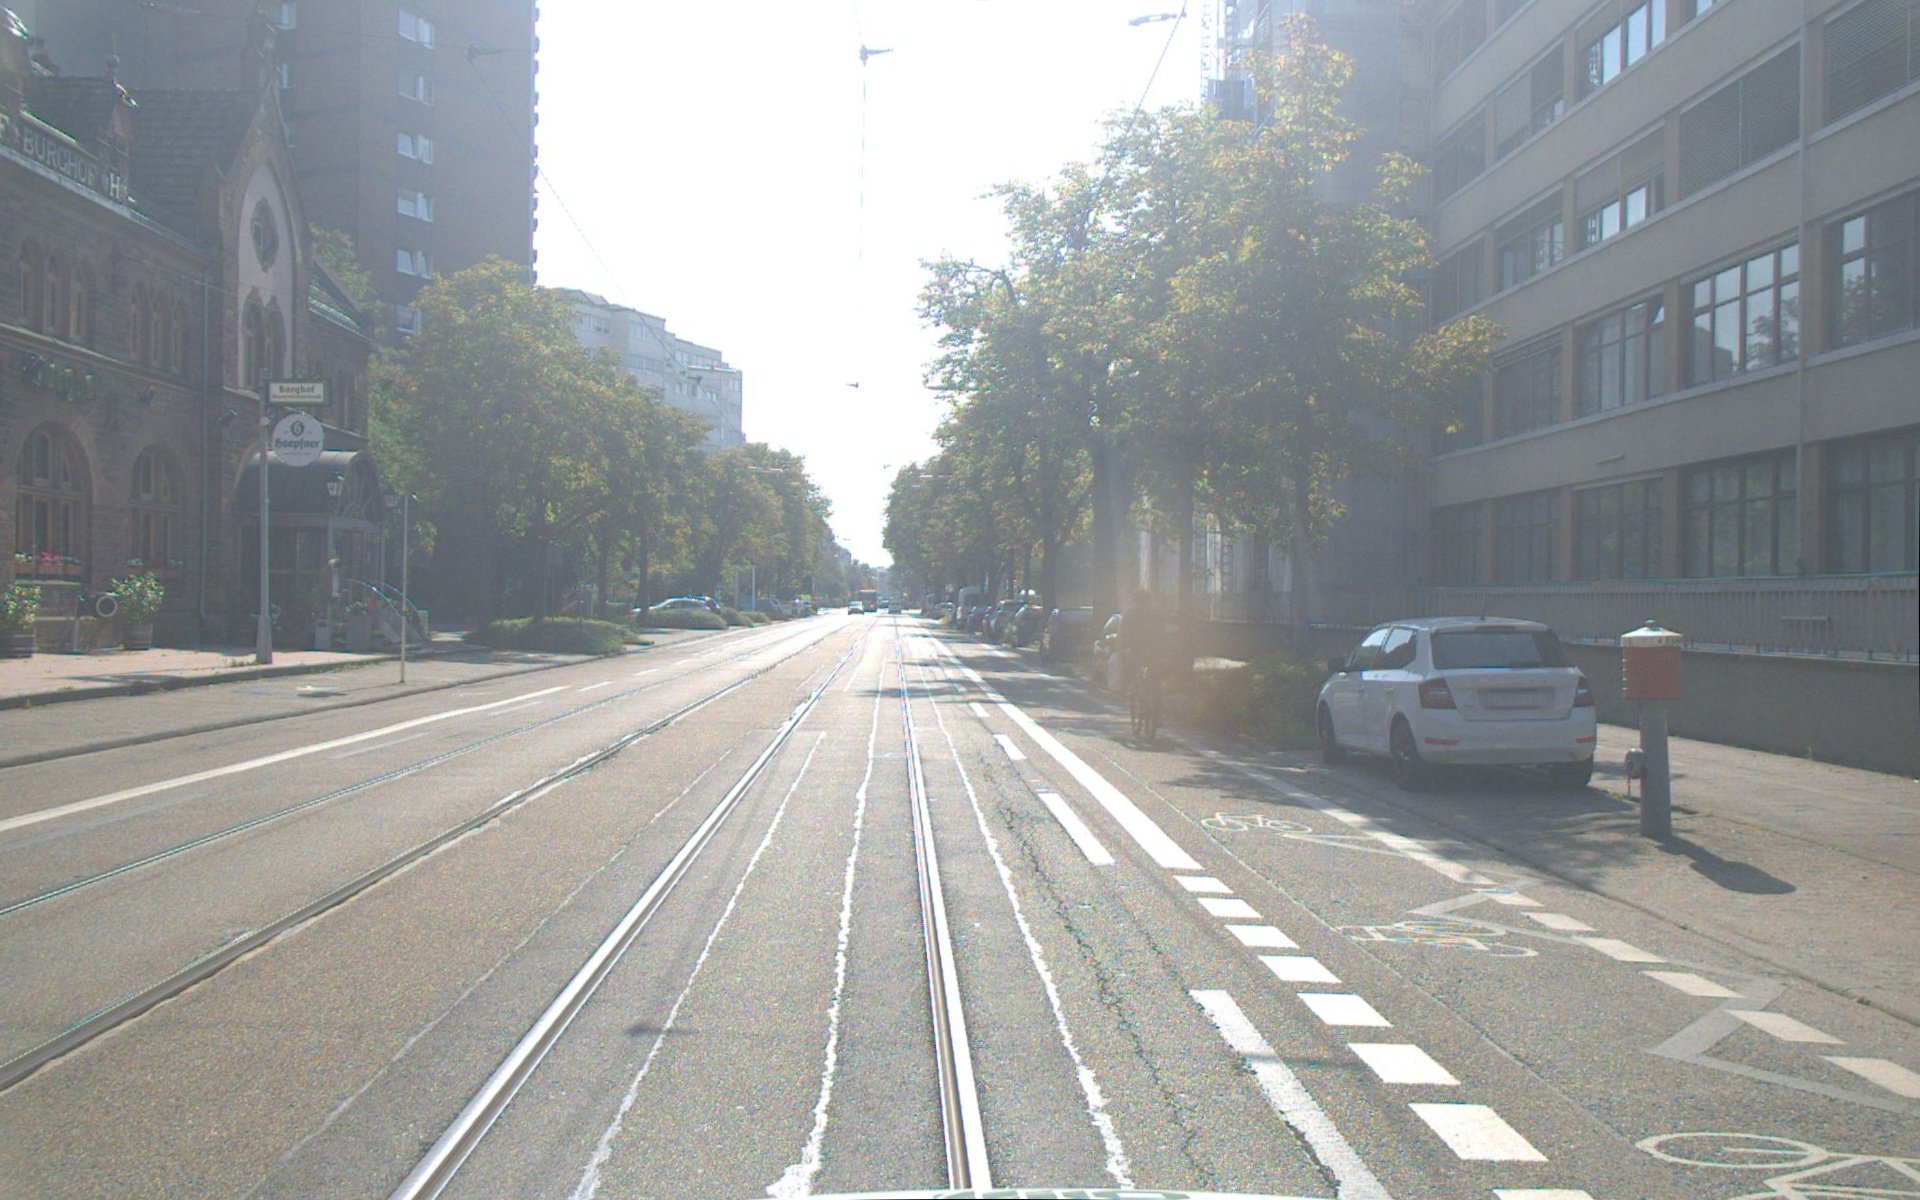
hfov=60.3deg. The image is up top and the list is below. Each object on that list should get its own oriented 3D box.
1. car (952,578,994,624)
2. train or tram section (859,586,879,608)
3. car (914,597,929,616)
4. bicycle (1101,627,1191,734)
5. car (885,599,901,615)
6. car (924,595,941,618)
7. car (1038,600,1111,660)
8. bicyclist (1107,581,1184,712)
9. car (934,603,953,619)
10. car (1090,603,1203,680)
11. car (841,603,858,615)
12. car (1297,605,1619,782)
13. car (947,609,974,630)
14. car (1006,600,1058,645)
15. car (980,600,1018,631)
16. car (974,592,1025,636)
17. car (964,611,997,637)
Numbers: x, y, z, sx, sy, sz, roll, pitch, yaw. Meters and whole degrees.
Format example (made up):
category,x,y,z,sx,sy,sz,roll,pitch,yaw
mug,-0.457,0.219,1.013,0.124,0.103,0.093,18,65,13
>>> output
category,x,y,z,sx,sy,sz,roll,pitch,yaw
car,0.740,0.108,99.944,2.041,2.597,5.497,-3,0,-4
train or tram section,-13.062,-0.373,238.820,2.674,2.945,15.446,0,-1,-2
car,-5.131,0.916,220.885,1.964,2.518,4.475,0,-1,-2
bicycle,2.172,0.920,19.582,0.771,1.164,2.304,0,-1,-1
car,-8.368,0.873,206.857,1.953,1.870,3.999,0,-1,-1
car,-3.204,0.772,194.225,1.964,2.534,4.475,0,-2,-2
car,3.121,0.806,45.691,1.613,1.537,3.776,-1,0,-2
bicyclist,2.180,0.537,19.579,0.771,1.495,1.116,0,-1,-1
car,-1.540,0.974,152.349,1.655,1.443,3.633,0,-1,-2
car,3.764,0.810,33.987,1.613,1.453,4.082,-1,0,-3
car,-12.457,1.035,186.686,1.792,1.400,4.509,0,-1,-3
car,4.553,0.795,15.744,1.608,1.455,3.985,-1,-1,-4
car,0.014,1.388,118.769,1.718,1.402,4.716,-1,0,-2
car,2.504,0.777,58.391,1.544,1.511,3.737,-1,0,-2
car,1.850,0.740,79.424,1.584,1.438,3.998,0,-1,-2
car,1.611,0.556,68.854,1.719,1.721,4.392,1,0,-4
car,1.063,1.281,89.530,1.584,1.398,4.825,0,0,-2
